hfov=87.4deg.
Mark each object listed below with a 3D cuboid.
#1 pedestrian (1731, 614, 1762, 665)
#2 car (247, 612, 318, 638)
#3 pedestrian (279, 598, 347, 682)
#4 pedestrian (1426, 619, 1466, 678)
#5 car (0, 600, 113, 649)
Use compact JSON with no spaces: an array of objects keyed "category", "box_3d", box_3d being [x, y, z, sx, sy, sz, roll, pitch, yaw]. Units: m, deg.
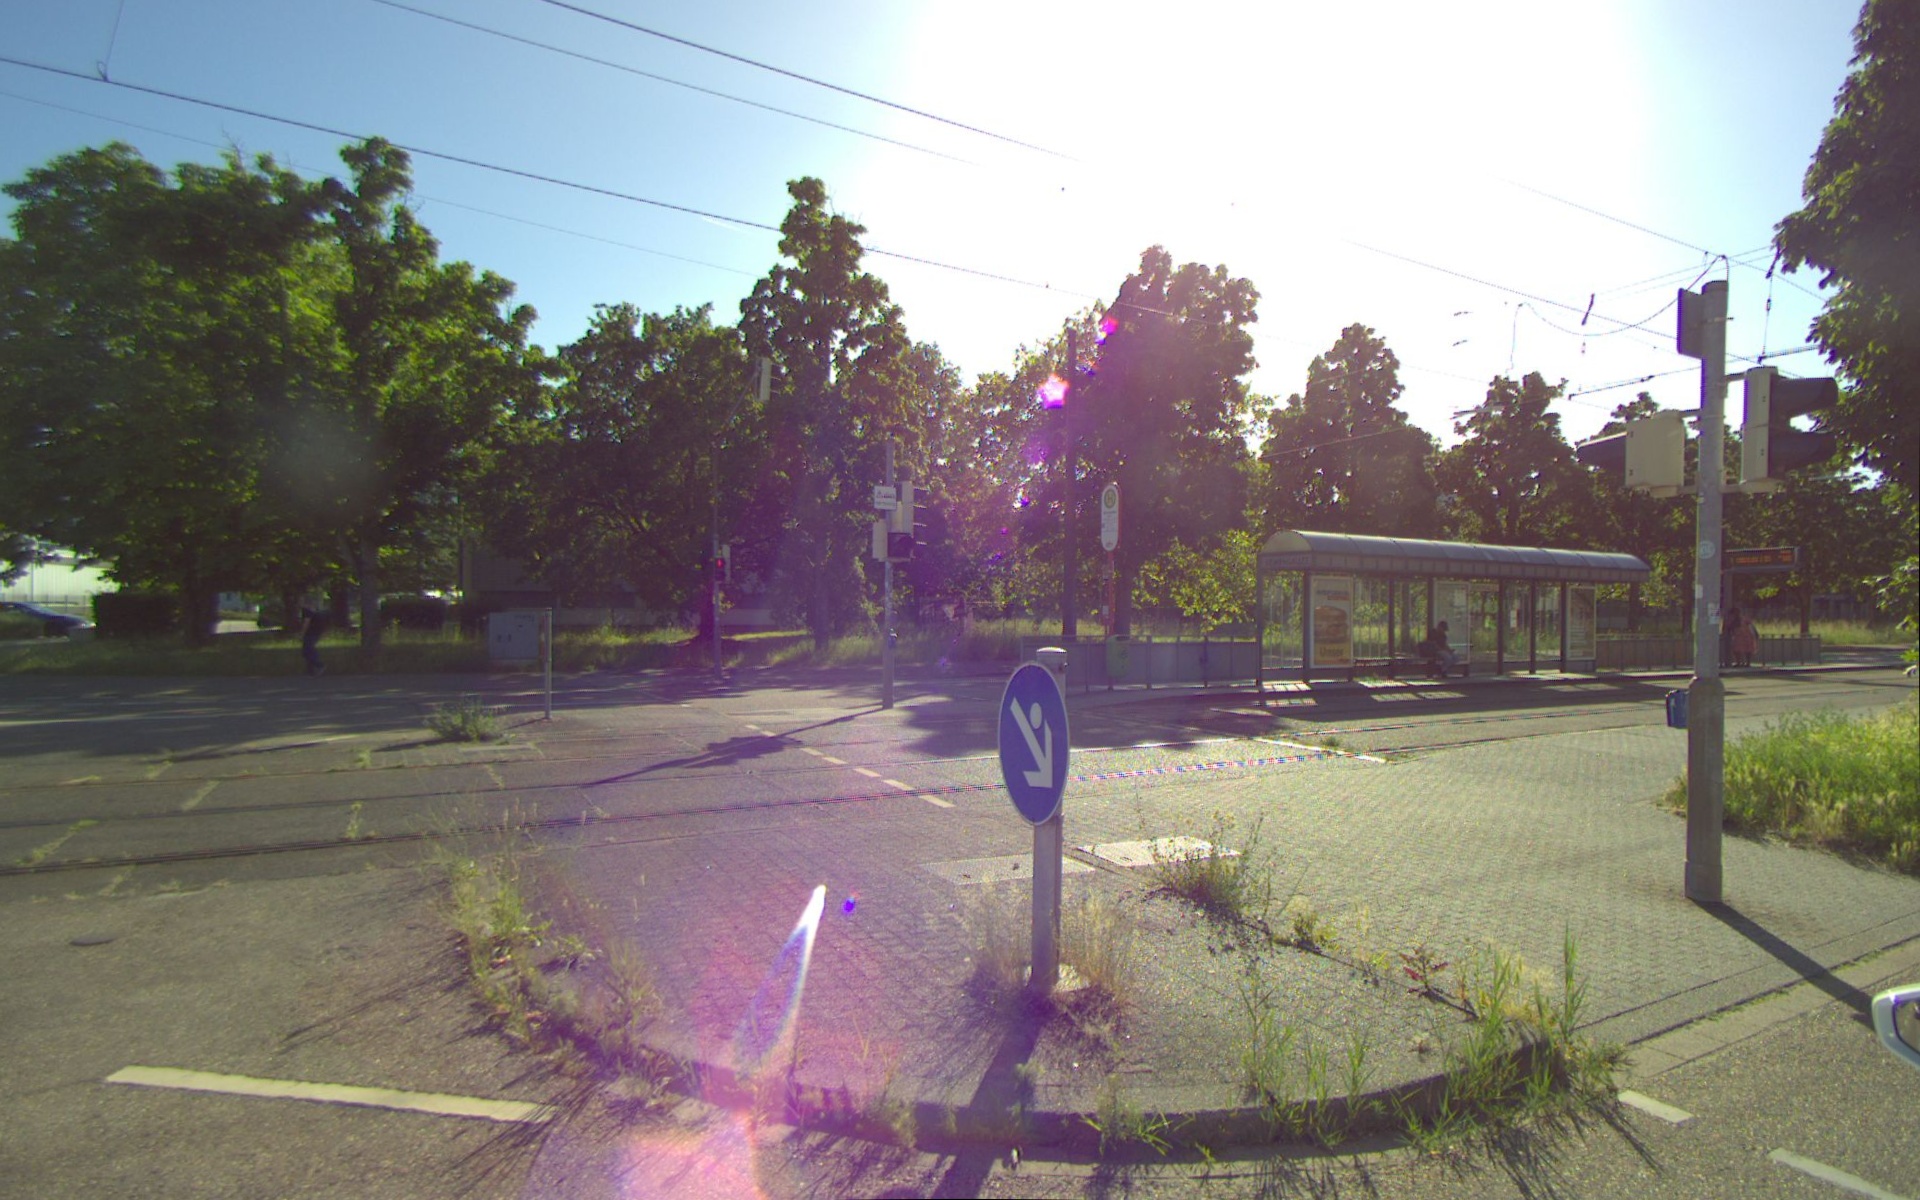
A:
[{"category":"pedestrian","box_3d":[23.060,1.158,29.455,0.552,1.466,0.542,2,-1,-29]},{"category":"car","box_3d":[-44.902,1.652,66.680,3.565,1.611,1.792,2,-1,-22]},{"category":"pedestrian","box_3d":[-13.798,0.847,21.448,0.919,1.757,0.761,1,0,-1]},{"category":"pedestrian","box_3d":[10.686,1.066,22.085,0.574,1.273,0.561,2,-3,-30]},{"category":"car","box_3d":[-36.017,0.920,38.649,4.767,1.751,2.042,2,0,-20]}]
